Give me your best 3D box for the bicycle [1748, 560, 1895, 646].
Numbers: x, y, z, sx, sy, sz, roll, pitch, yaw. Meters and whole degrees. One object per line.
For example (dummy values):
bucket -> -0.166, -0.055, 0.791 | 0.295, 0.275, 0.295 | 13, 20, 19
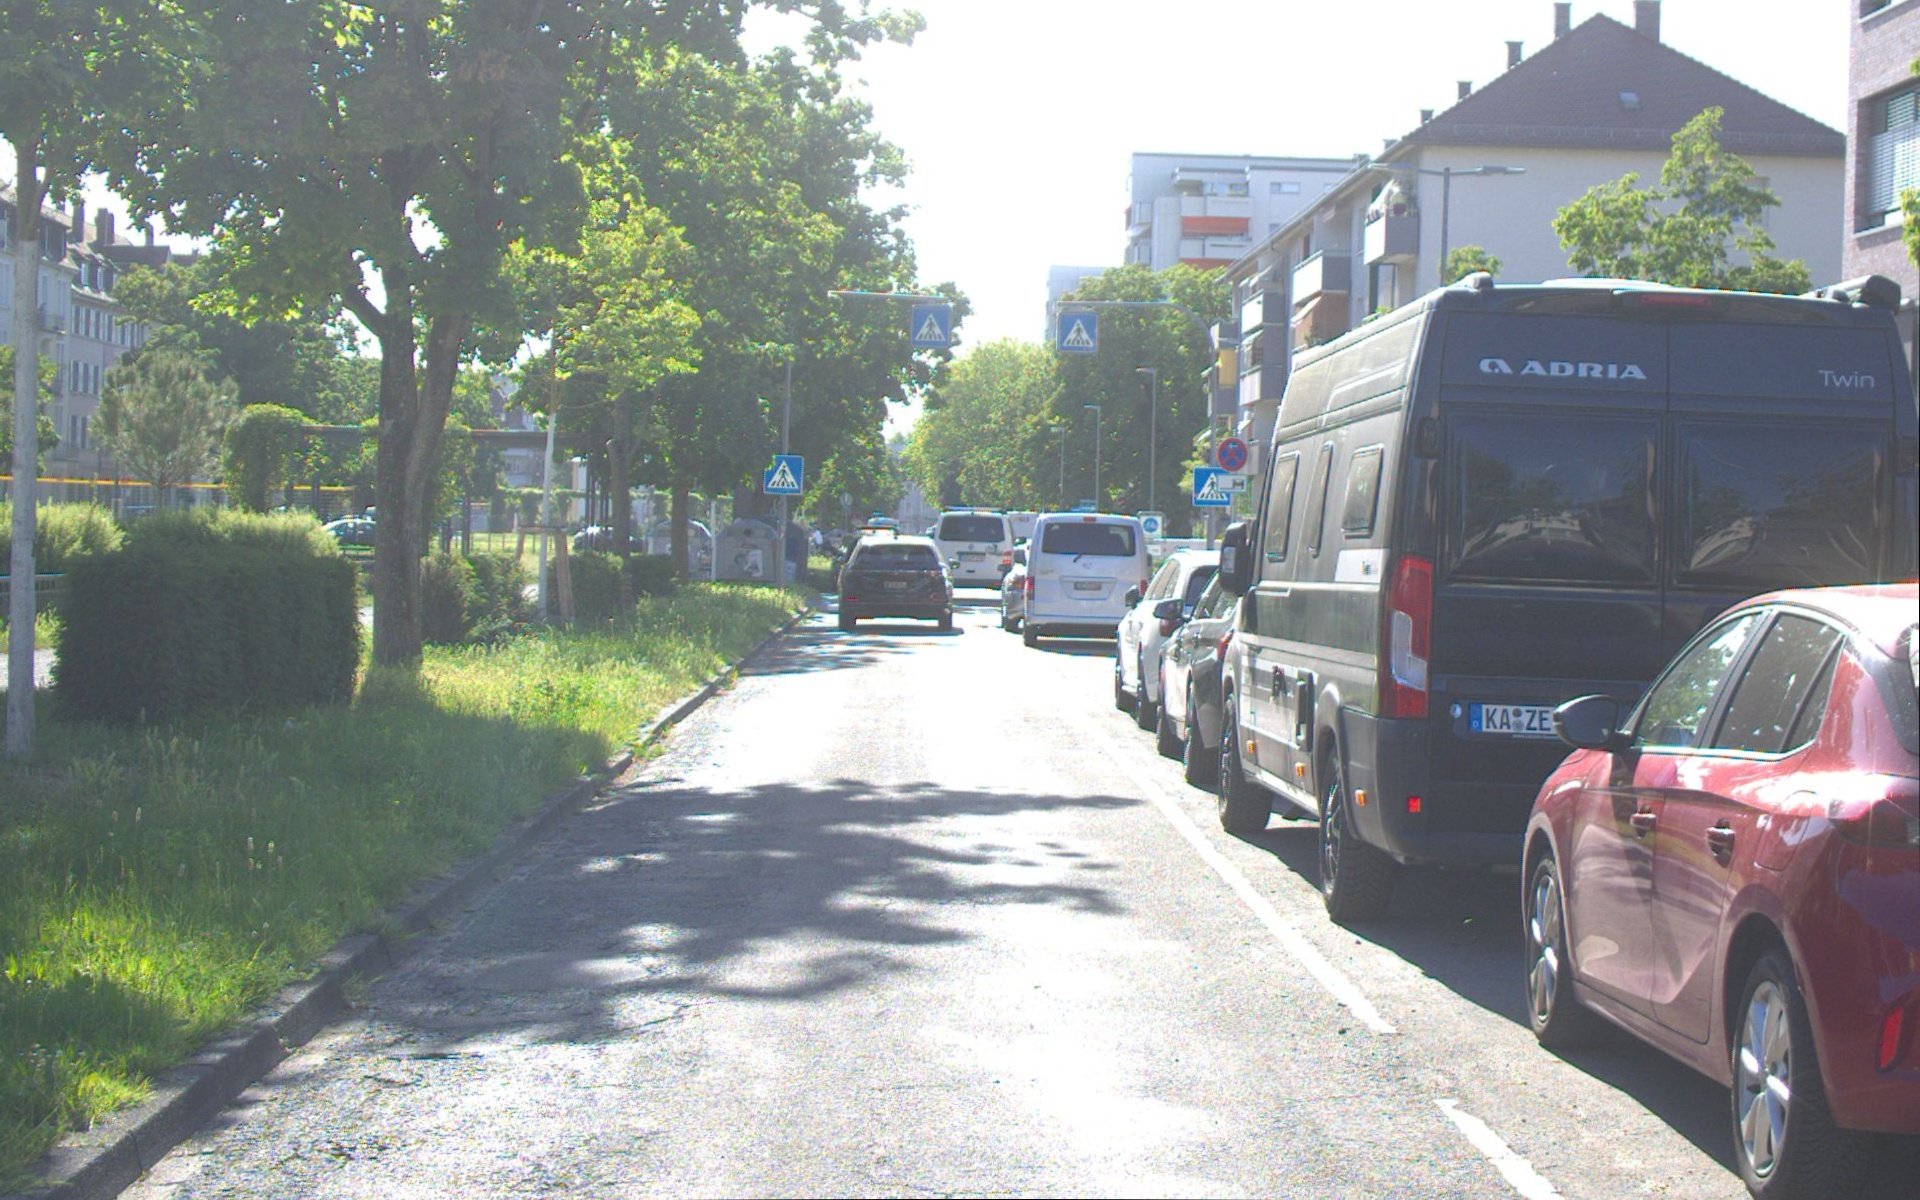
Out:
bicycle -> 11.341, 0.035, 45.269 | 1.794, 1.104, 0.500 | -1, 1, -3

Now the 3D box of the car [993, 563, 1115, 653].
car -> 1.479, 0.098, 55.255 | 1.764, 1.314, 4.168 | 2, 1, 0

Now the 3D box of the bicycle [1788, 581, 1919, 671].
bicycle -> 11.542, 0.326, 43.922 | 1.794, 1.104, 0.500 | -1, 1, -3

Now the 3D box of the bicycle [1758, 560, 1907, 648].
bicycle -> 11.344, 0.047, 44.719 | 1.794, 1.104, 0.500 | -1, 1, -3

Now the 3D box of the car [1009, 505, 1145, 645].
car -> 1.630, -0.393, 48.928 | 1.794, 1.848, 4.413 | 2, 1, 1

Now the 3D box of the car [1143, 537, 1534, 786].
car -> 2.353, 0.322, 22.570 | 1.993, 1.415, 4.636 | 1, 1, 0

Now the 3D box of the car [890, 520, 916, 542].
car -> -4.022, -4.843, 242.078 | 1.794, 1.505, 4.000 | 1, 1, -1

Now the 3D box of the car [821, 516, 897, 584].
car -> -2.534, -1.267, 86.830 | 1.794, 1.619, 4.000 | 2, 1, -1

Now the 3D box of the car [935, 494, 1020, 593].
car -> 0.373, -1.286, 77.624 | 1.794, 2.115, 4.000 | 2, 1, -1

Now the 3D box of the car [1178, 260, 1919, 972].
car -> 2.407, -0.005, 15.572 | 2.115, 2.507, 6.533 | 1, 1, -2

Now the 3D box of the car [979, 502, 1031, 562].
car -> 1.897, -2.917, 147.139 | 1.993, 2.422, 4.500 | 3, 1, -1

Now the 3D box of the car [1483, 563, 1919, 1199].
car -> 2.632, 0.668, 9.006 | 1.794, 1.450, 3.950 | 1, 1, -2

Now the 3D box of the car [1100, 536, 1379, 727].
car -> 2.232, 0.196, 28.597 | 1.794, 1.415, 4.658 | 1, 1, -1

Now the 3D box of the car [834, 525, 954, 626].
car -> -1.033, -0.419, 54.685 | 1.794, 1.505, 4.000 | 2, 1, -1
